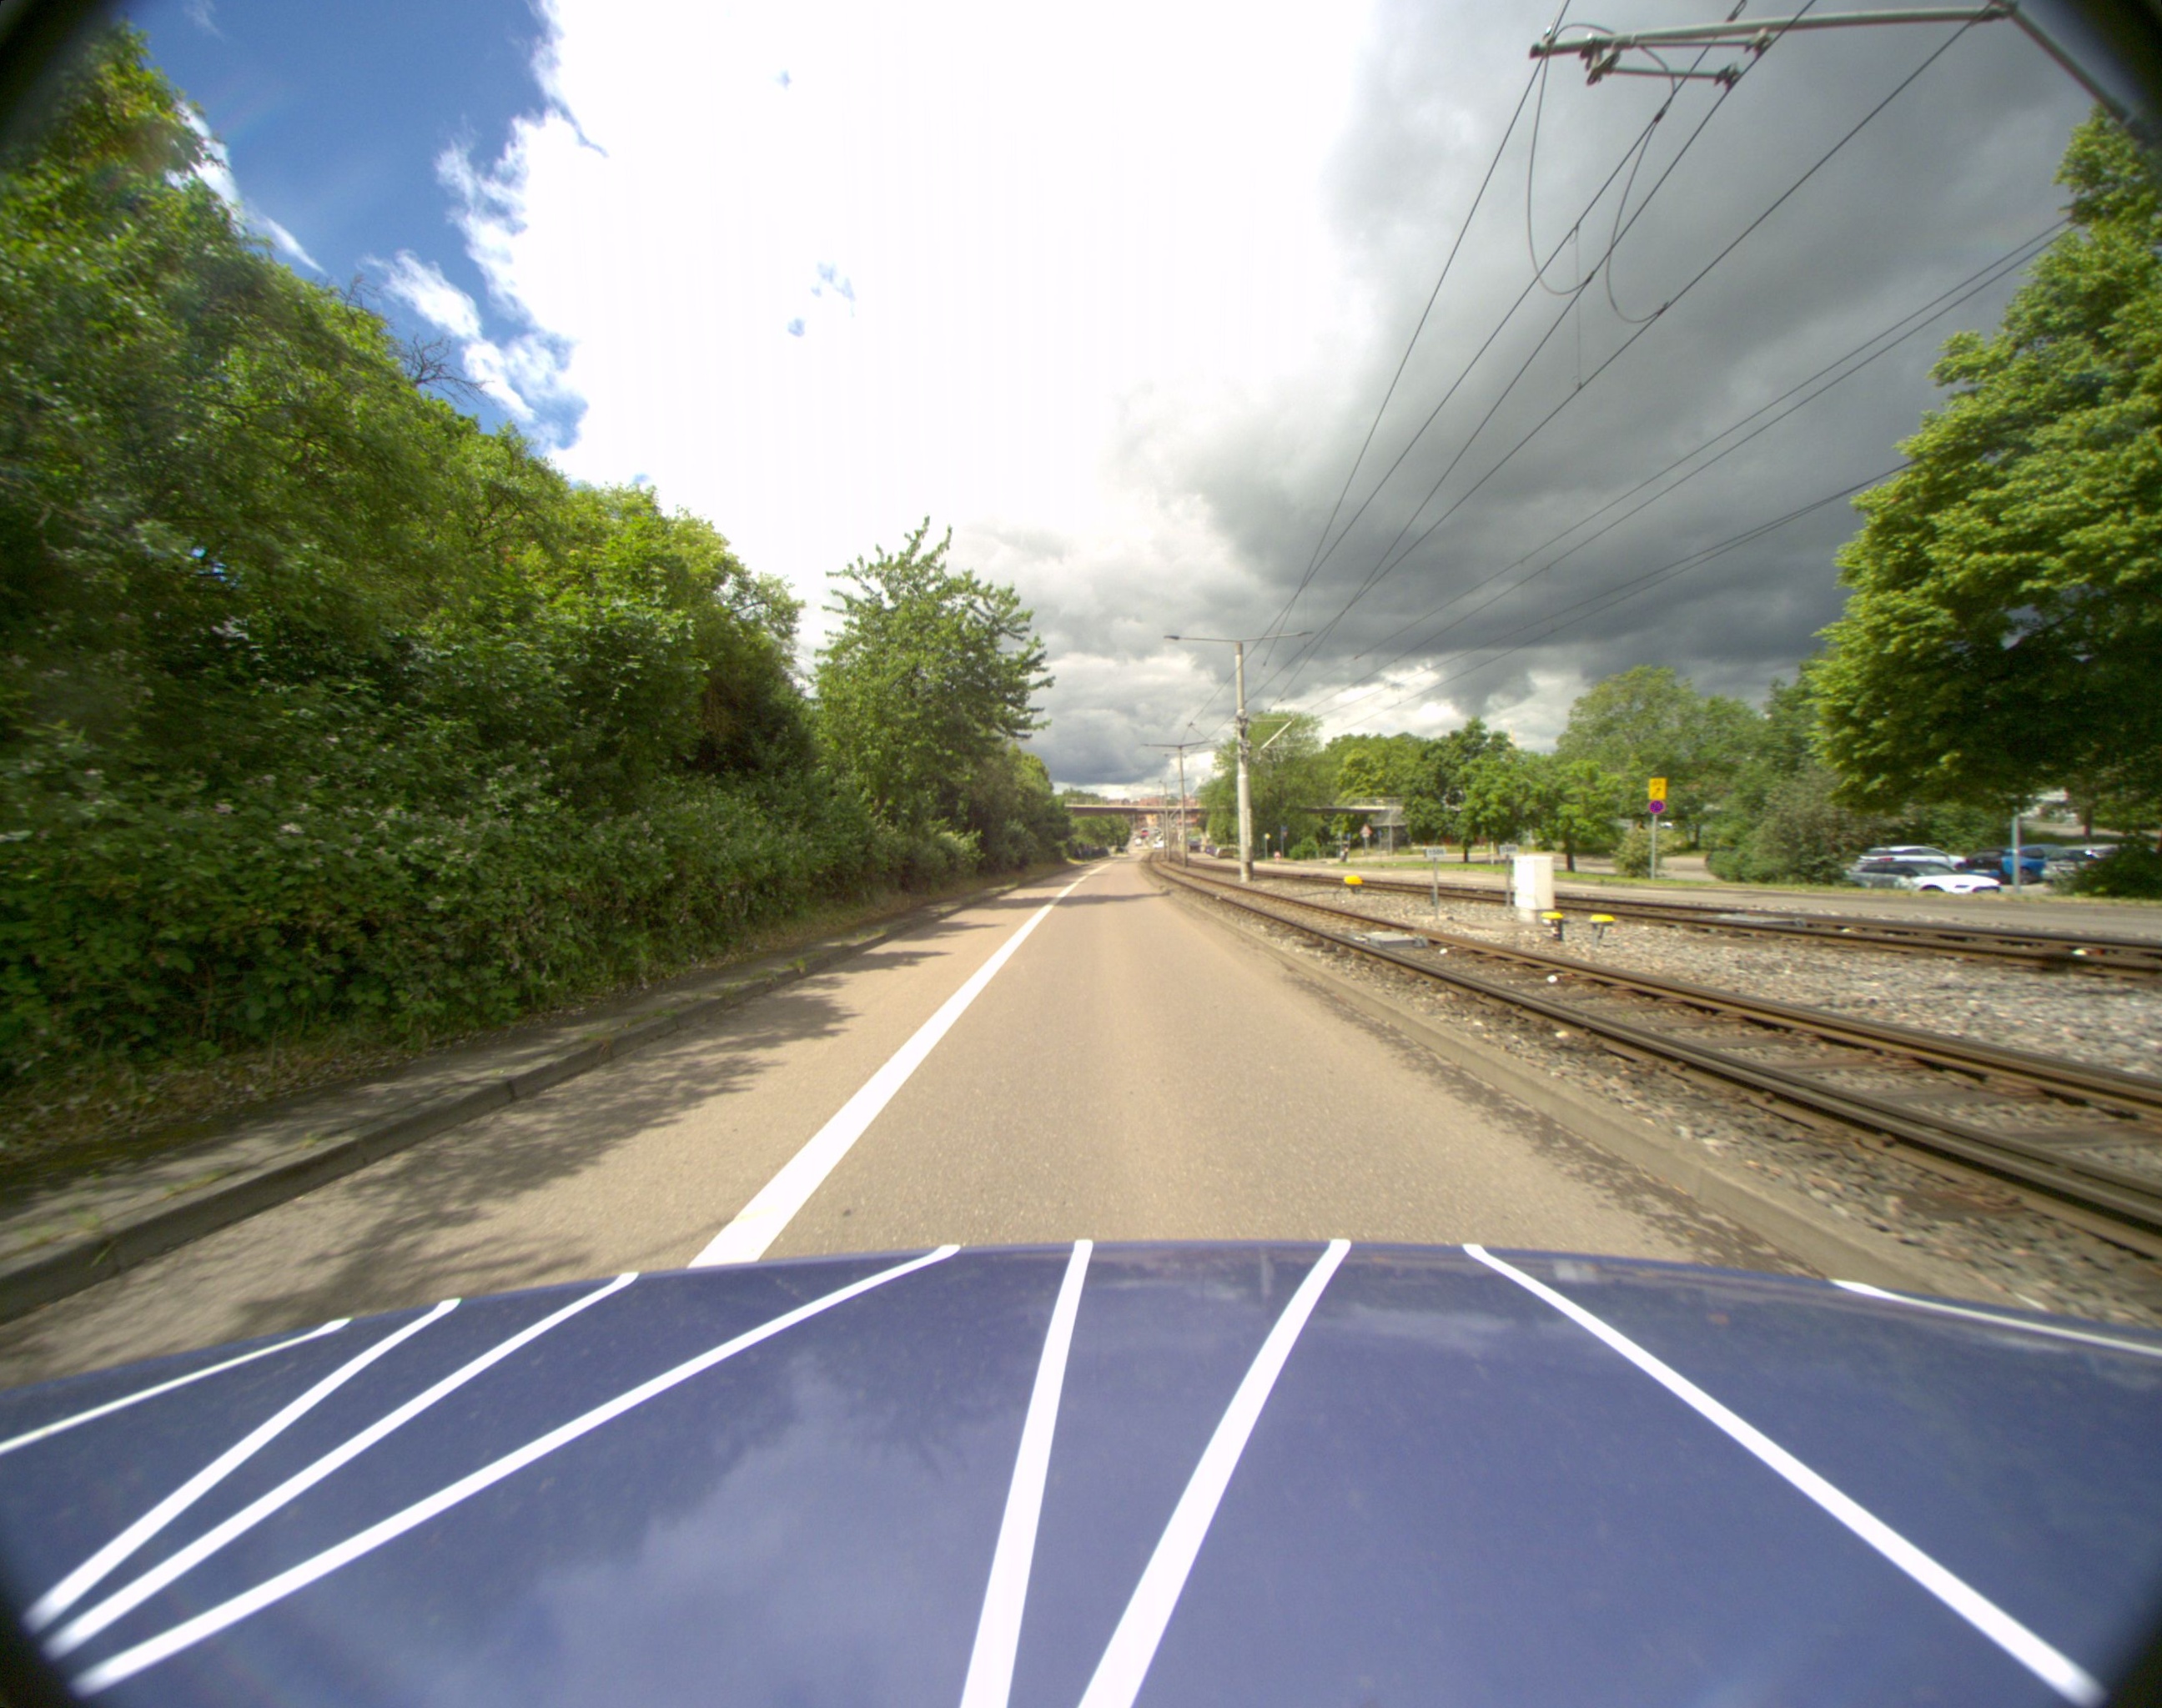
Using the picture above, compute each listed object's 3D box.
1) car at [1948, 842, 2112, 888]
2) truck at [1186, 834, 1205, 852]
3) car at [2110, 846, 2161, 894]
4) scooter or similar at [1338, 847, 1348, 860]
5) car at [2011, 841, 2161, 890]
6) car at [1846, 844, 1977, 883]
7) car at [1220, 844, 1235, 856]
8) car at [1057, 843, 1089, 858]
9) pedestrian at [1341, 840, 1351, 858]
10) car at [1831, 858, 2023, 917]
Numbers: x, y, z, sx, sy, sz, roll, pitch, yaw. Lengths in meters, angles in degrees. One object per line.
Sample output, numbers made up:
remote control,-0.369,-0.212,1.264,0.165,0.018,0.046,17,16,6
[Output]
car,38.922,0.444,31.265,3.962,1.570,1.870,-4,0,8
truck,23.369,-2.316,155.310,2.878,3.301,9.029,-4,2,4
car,39.192,0.474,26.292,3.962,1.570,1.997,-4,0,8
scooter or similar,25.766,-0.066,74.760,0.712,1.141,0.788,-4,3,8
car,38.536,0.411,28.696,3.962,1.570,1.995,-4,0,8
car,39.285,0.448,36.040,3.924,1.570,1.843,-4,0,5
car,20.228,-0.568,104.942,1.692,1.442,3.898,-4,2,7
car,-1.179,-0.570,113.400,4.532,1.663,2.000,6,4,7
pedestrian,26.383,-0.529,75.691,0.662,1.746,0.718,-4,3,8
car,28.881,1.085,26.171,1.994,1.744,4.069,-4,0,1
